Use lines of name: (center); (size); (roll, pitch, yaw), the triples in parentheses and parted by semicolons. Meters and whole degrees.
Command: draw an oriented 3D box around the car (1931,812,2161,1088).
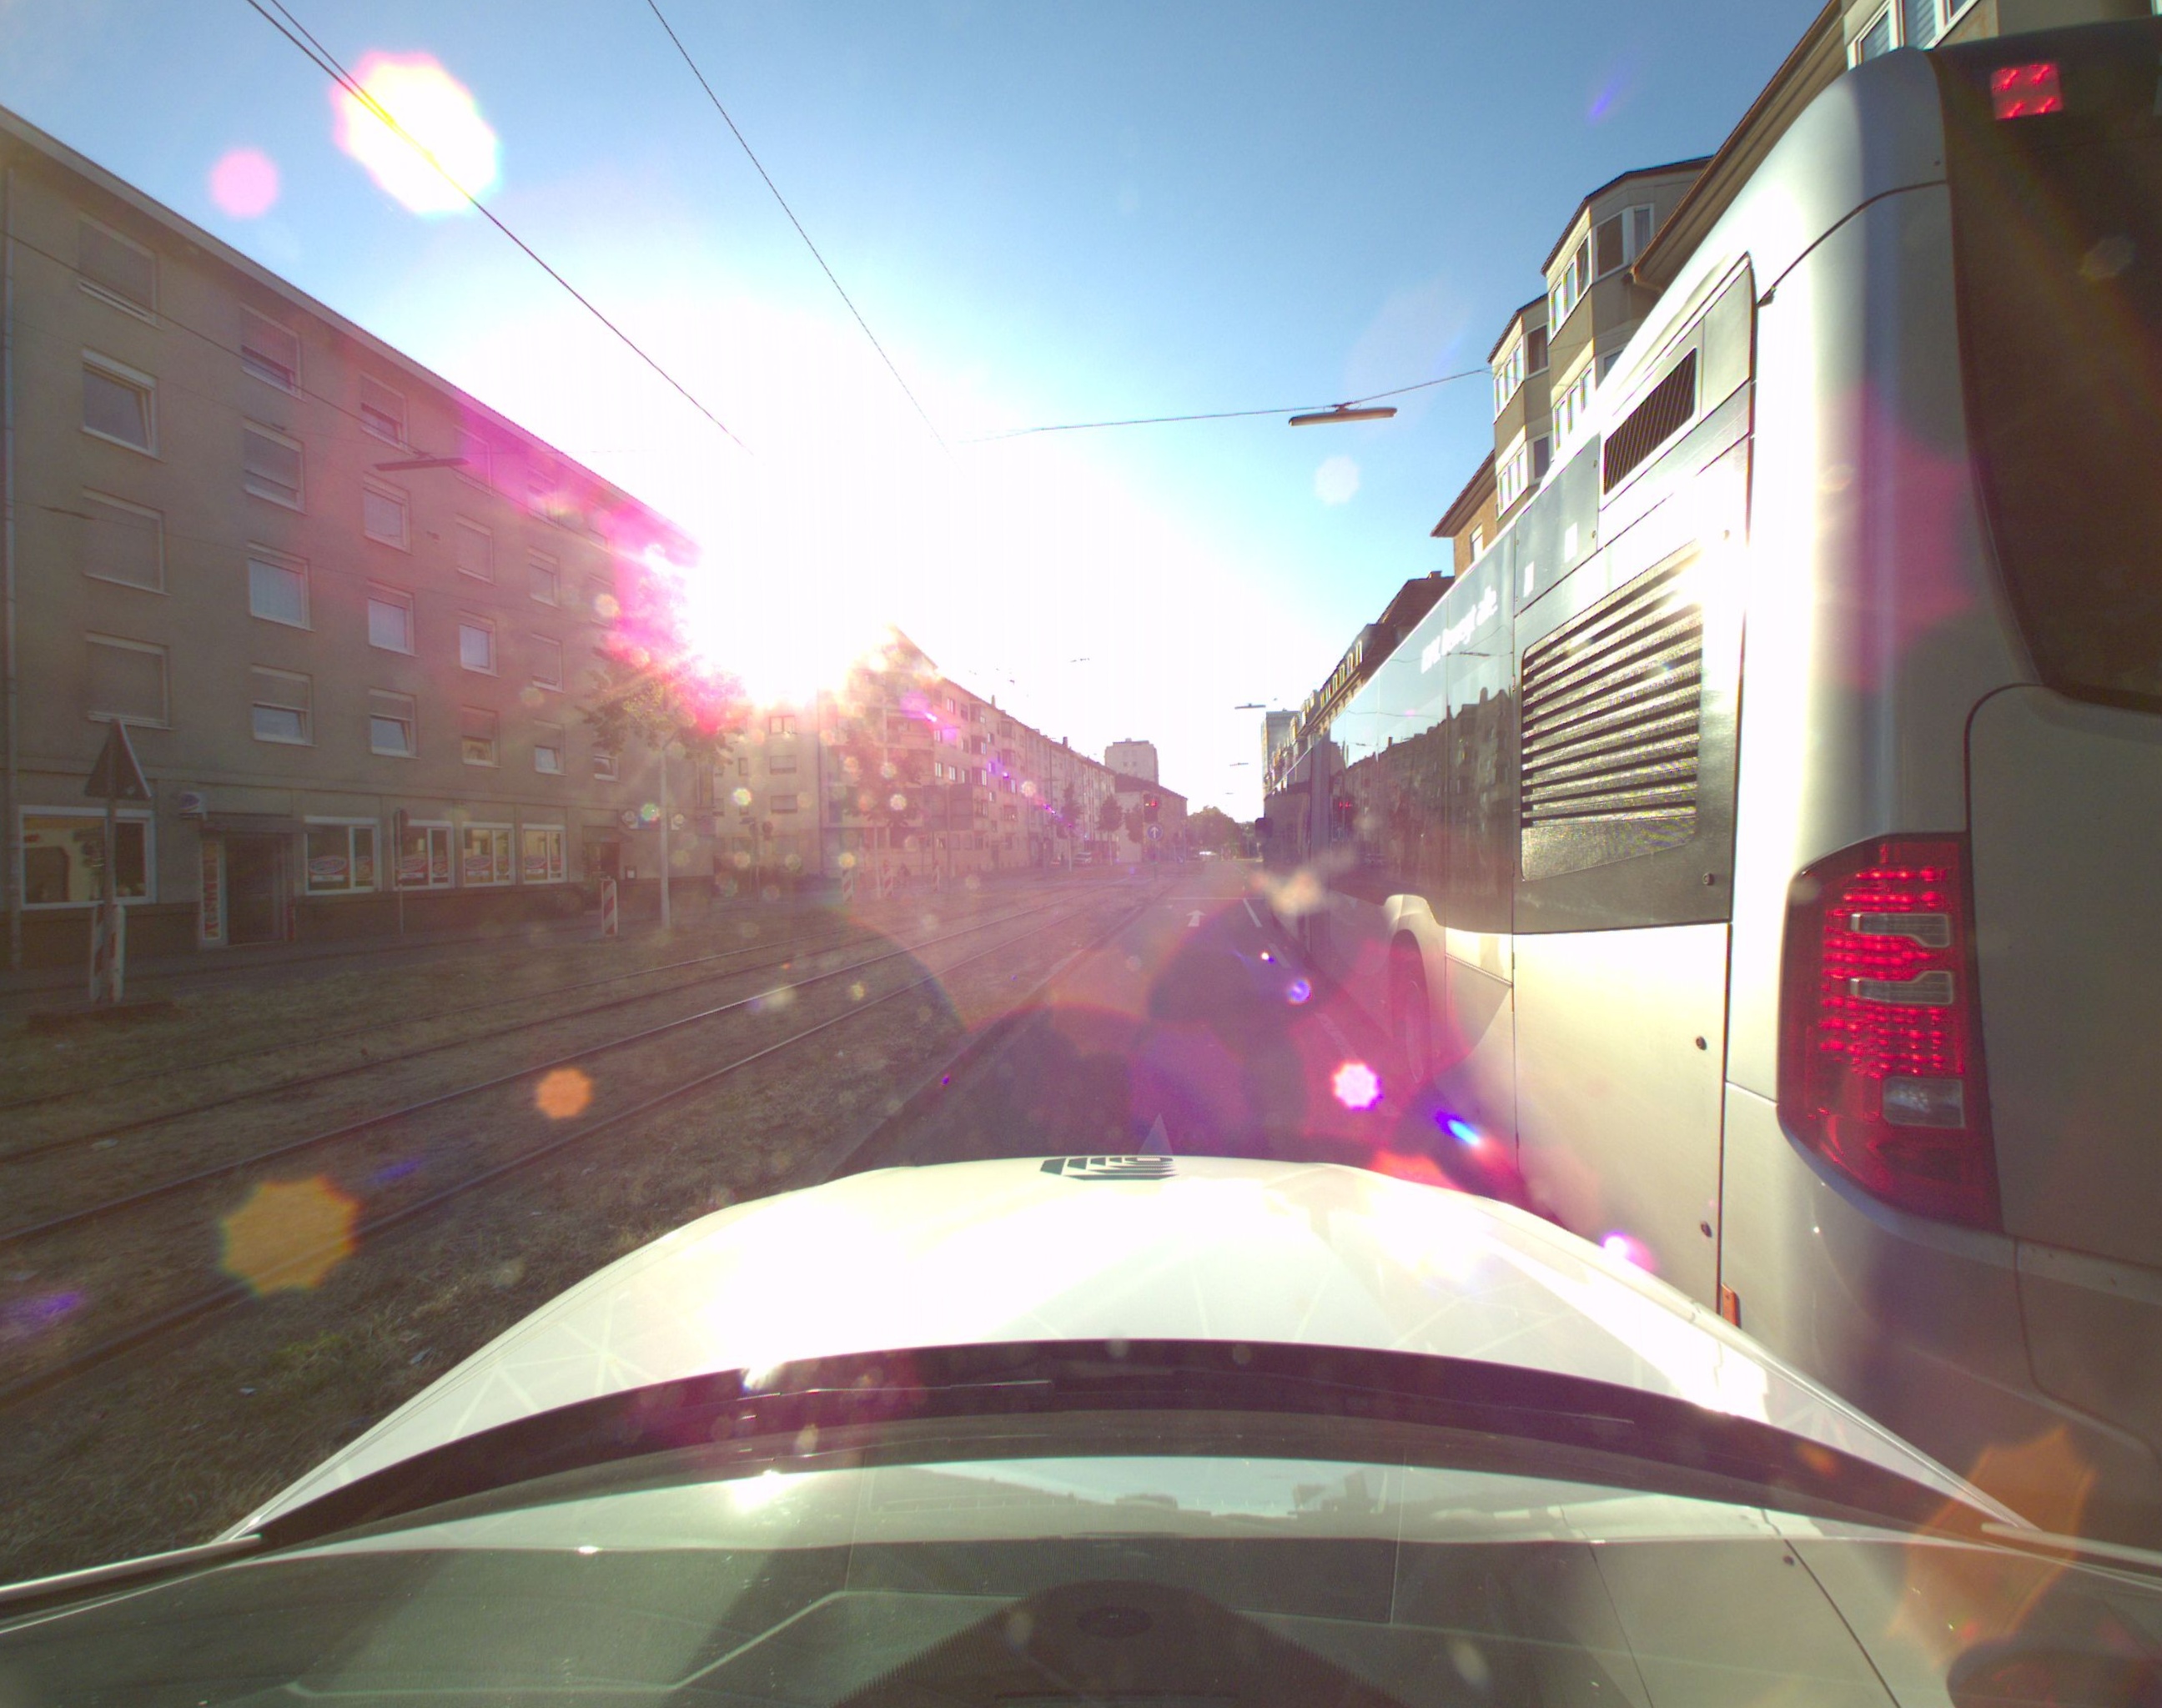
car: (7.023, 0.520, 4.122); (1.827, 1.588, 3.795); (-2, 0, 9)

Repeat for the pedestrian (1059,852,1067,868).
pedestrian: (-2.248, 0.728, 103.293); (0.782, 2.013, 0.892); (-2, 0, 6)

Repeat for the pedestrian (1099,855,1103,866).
pedestrian: (3.012, 0.955, 124.104); (0.492, 1.658, 0.410); (-2, -1, 10)

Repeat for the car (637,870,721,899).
car: (-23.552, 1.778, 47.807); (3.946, 1.440, 1.790); (-2, -1, -1)

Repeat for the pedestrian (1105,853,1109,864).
pedestrian: (3.919, 0.664, 124.260); (0.492, 1.658, 0.410); (-2, -1, 10)

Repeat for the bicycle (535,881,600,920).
bicycle: (-16.362, 1.475, 26.005); (0.742, 1.115, 1.783); (-2, 0, 9)

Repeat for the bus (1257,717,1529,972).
bus: (4.740, -0.120, 14.446); (2.722, 3.056, 9.155); (0, 0, 9)

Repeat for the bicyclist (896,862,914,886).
bicyclist: (-10.998, 1.260, 50.924); (0.522, 1.447, 0.971); (-3, -1, 40)

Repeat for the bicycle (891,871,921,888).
bicycle: (-10.951, 1.608, 50.942); (0.522, 0.984, 1.895); (-2, 0, 40)

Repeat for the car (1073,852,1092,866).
car: (0.215, 0.619, 106.438); (1.800, 1.798, 4.258); (0, 0, 11)

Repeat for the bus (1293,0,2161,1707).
bus: (3.256, -0.093, 5.526); (2.722, 3.056, 8.877); (0, 0, 9)
